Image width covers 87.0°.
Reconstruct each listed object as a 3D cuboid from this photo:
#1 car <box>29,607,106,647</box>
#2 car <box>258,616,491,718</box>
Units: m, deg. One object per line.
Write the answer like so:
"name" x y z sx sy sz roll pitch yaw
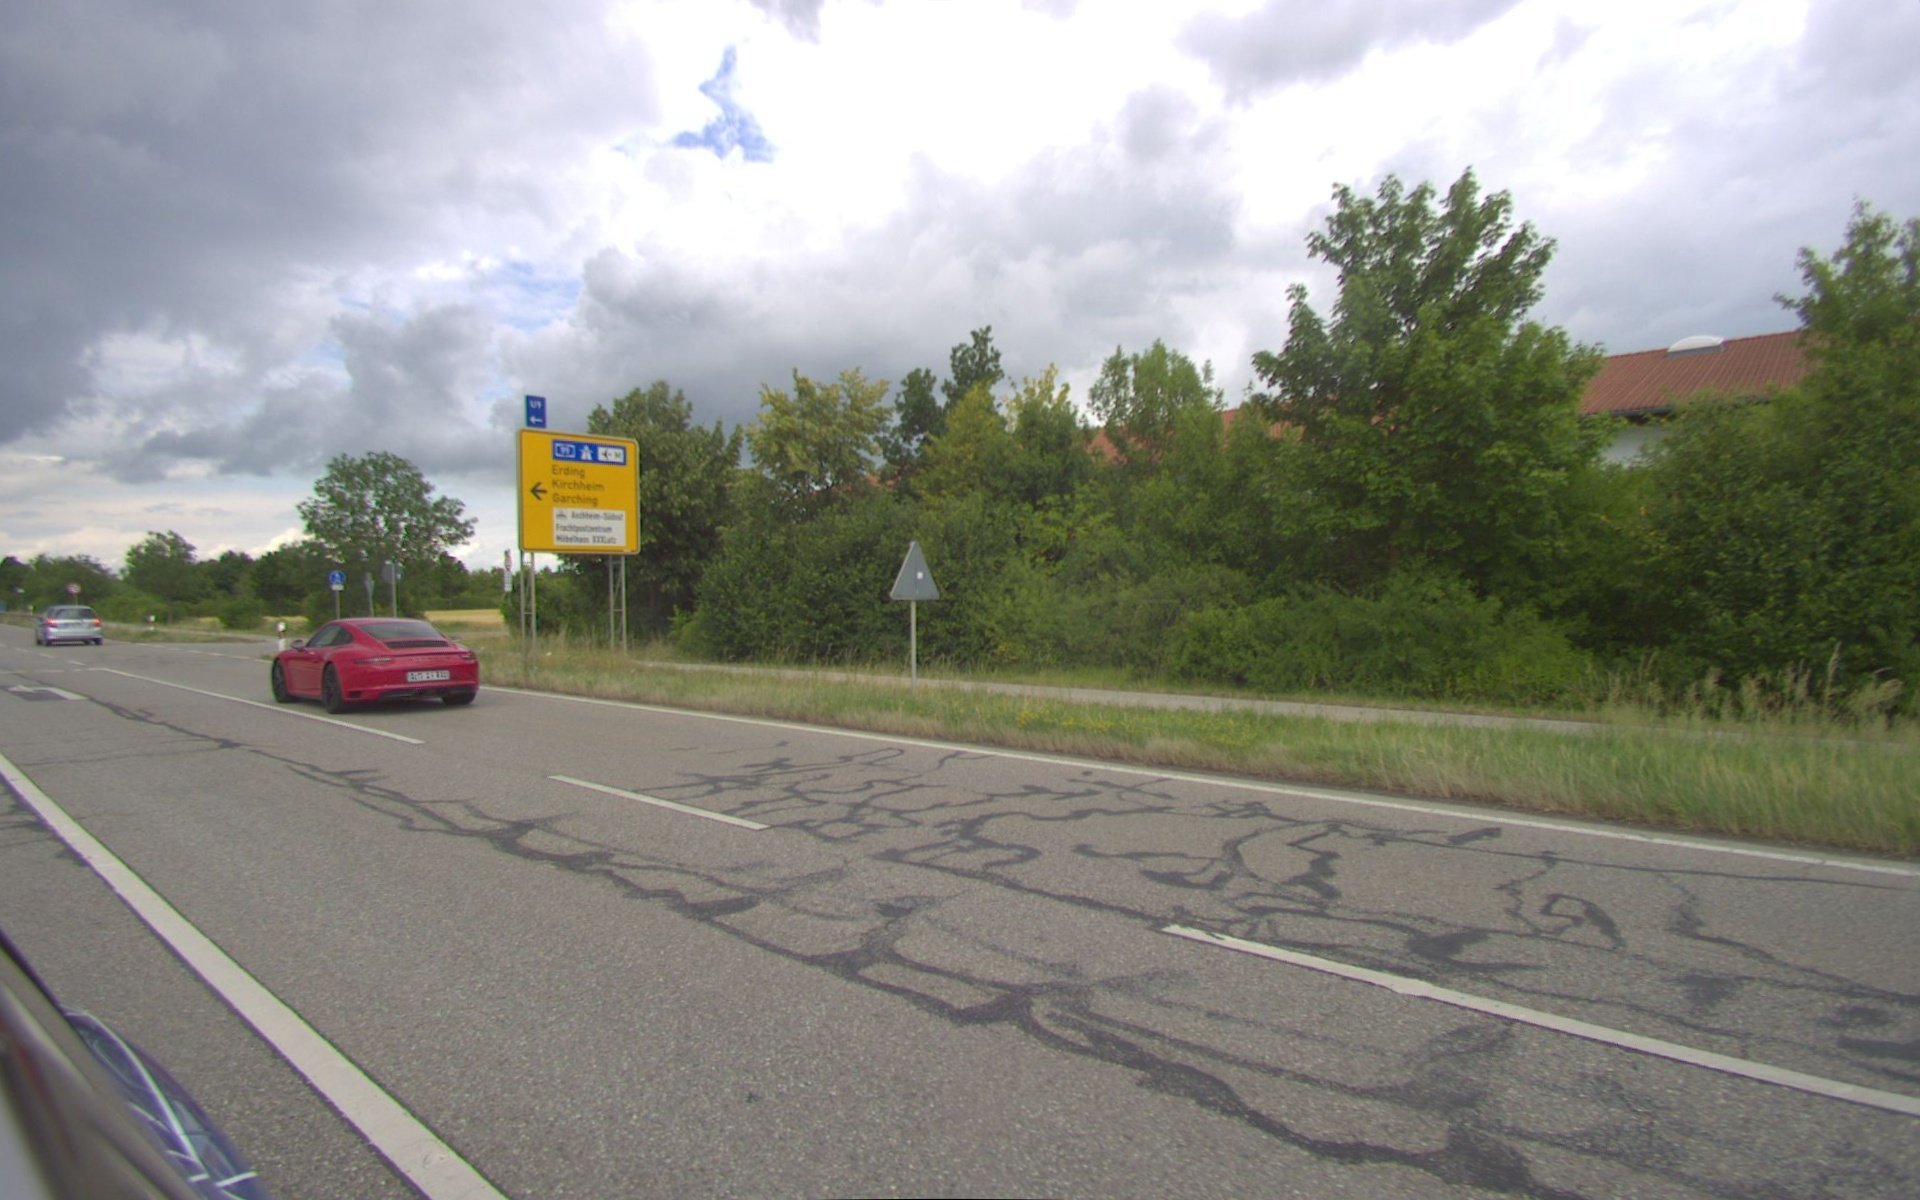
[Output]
"car" -34.024 1.011 38.551 3.933 1.442 1.711 -1 -1 41
"car" -8.646 0.878 14.793 4.211 1.250 1.752 -1 0 42
